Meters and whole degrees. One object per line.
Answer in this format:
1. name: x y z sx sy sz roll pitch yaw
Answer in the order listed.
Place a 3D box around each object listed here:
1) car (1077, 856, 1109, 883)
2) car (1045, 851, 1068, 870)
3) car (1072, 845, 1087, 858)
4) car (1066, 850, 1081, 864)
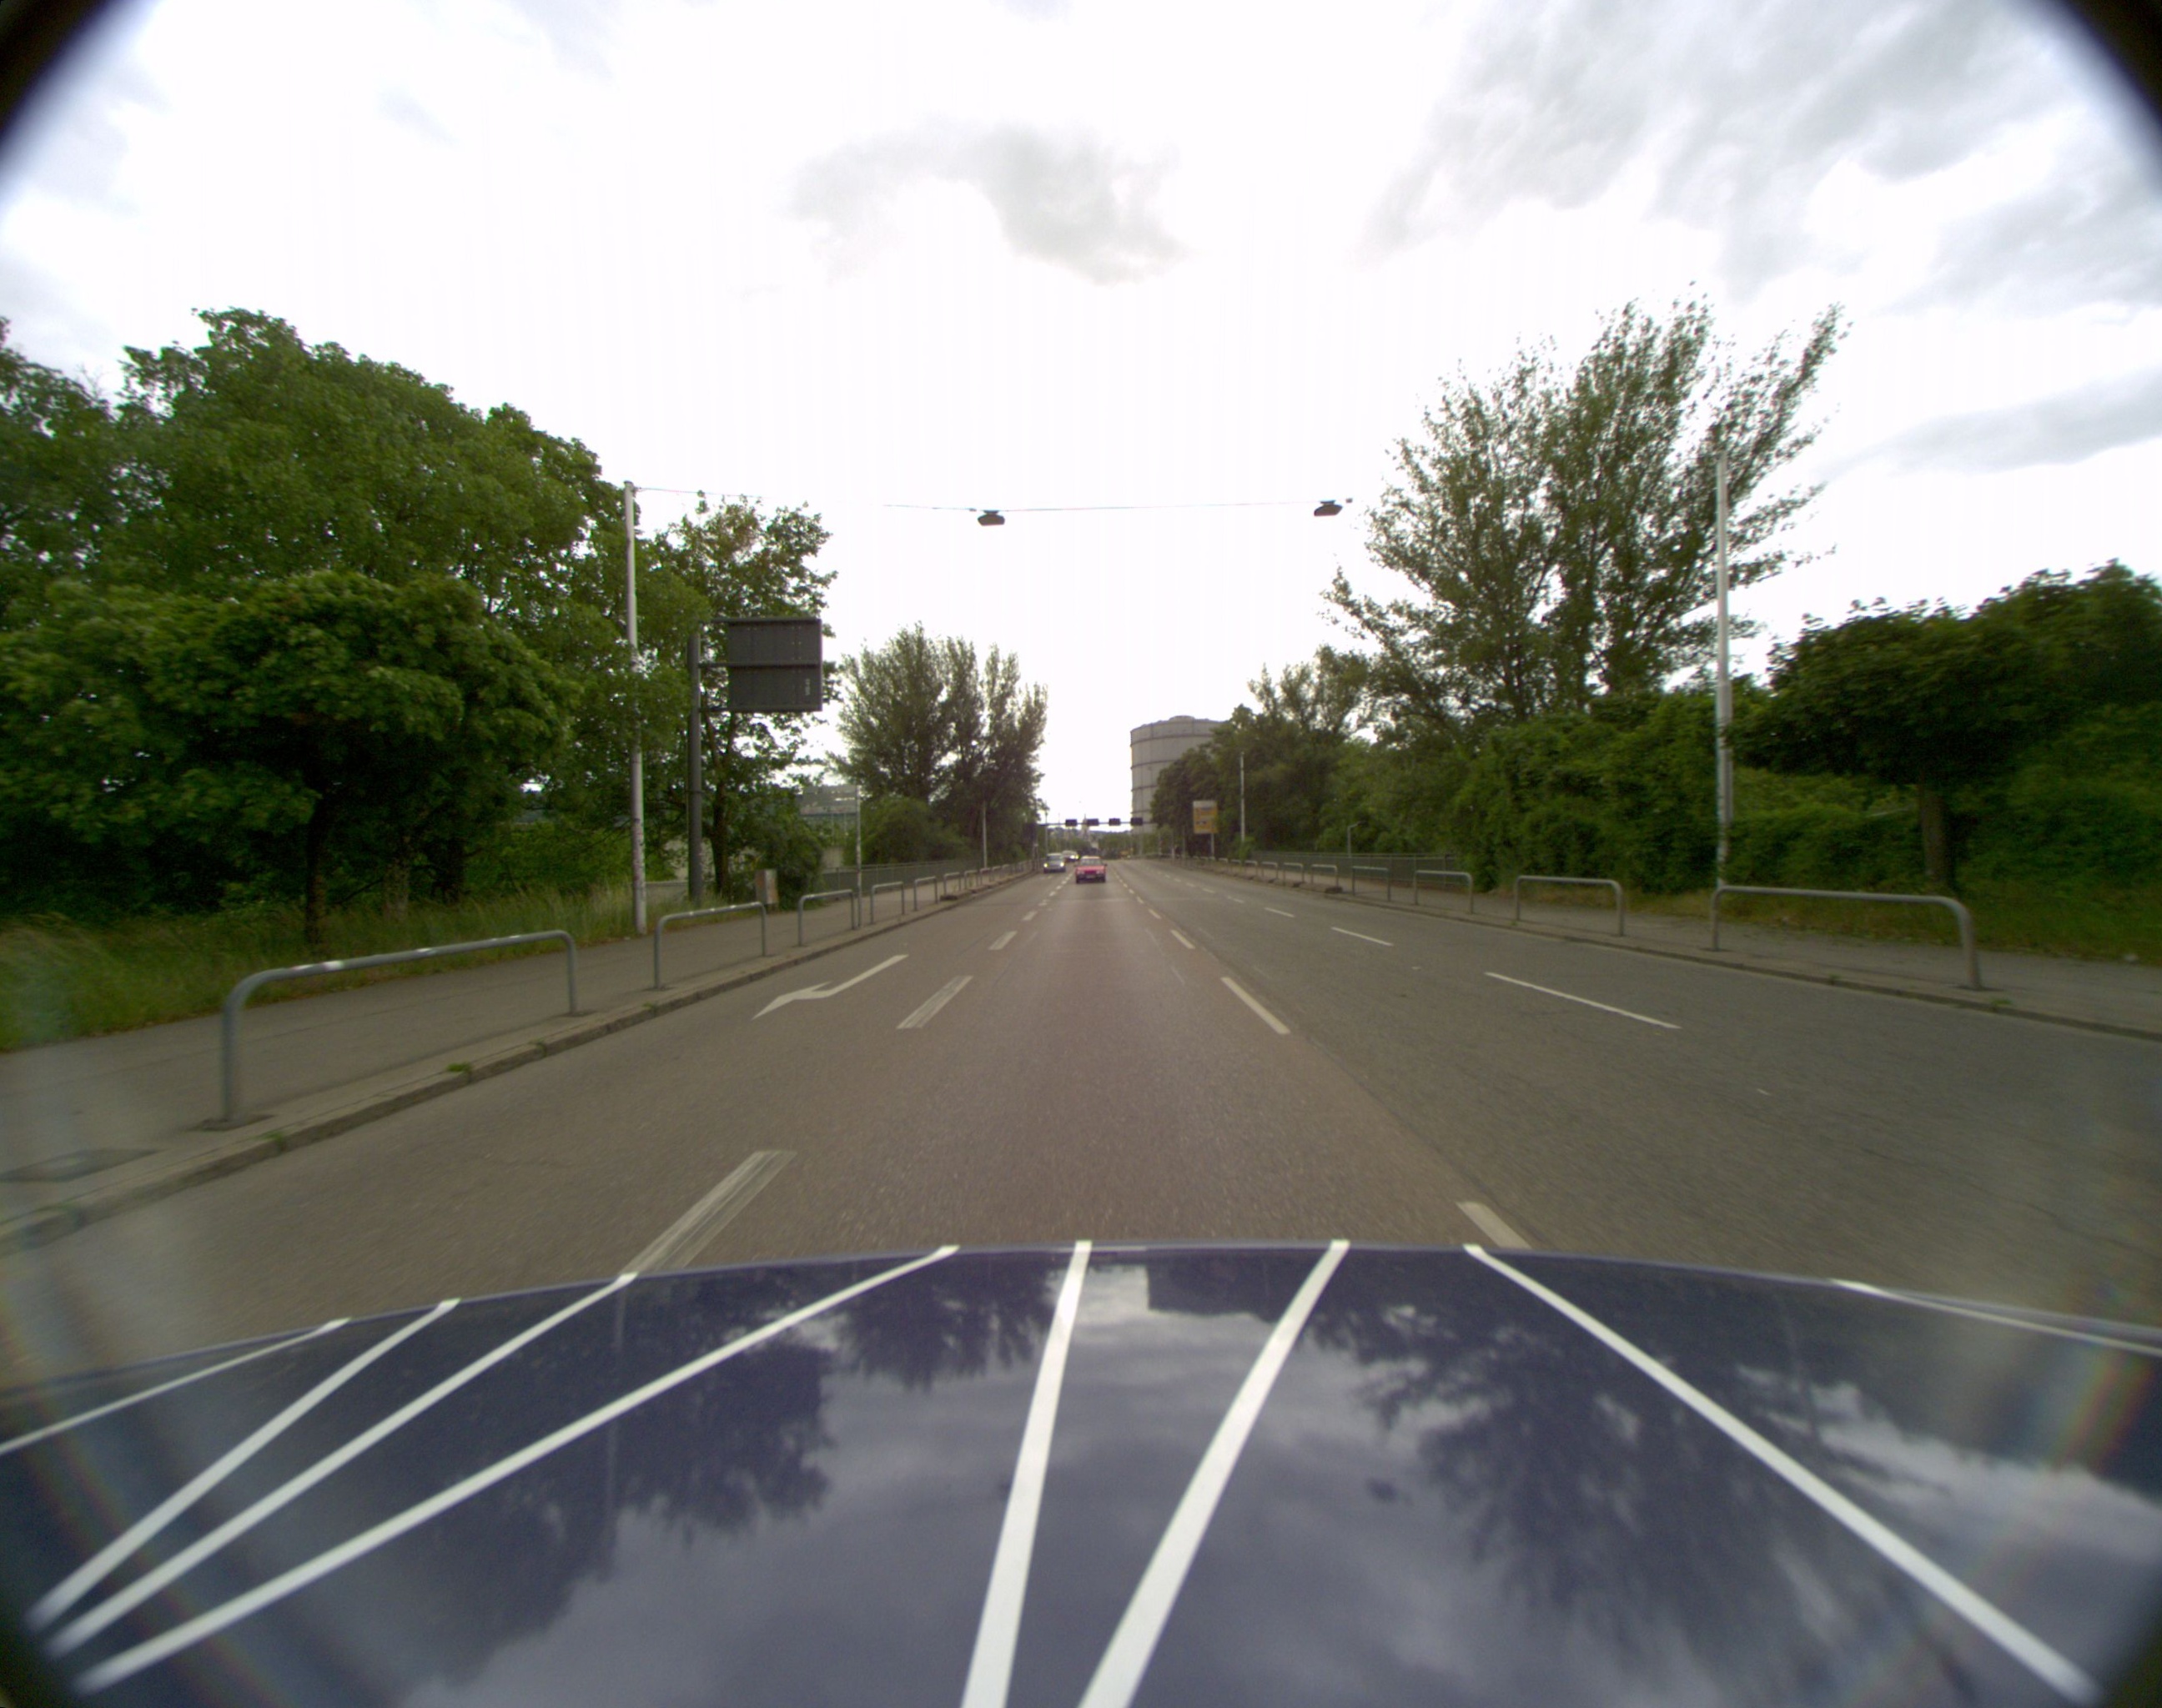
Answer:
1. car: 0.665 0.814 41.597 1.696 1.434 4.000 0 0 1
2. car: -2.057 0.549 64.661 1.771 1.565 4.000 -1 1 1
3. car: -0.263 -0.367 112.824 1.998 1.775 4.001 -1 0 2
4. car: -0.913 0.340 95.657 1.776 1.696 4.000 -3 0 0
